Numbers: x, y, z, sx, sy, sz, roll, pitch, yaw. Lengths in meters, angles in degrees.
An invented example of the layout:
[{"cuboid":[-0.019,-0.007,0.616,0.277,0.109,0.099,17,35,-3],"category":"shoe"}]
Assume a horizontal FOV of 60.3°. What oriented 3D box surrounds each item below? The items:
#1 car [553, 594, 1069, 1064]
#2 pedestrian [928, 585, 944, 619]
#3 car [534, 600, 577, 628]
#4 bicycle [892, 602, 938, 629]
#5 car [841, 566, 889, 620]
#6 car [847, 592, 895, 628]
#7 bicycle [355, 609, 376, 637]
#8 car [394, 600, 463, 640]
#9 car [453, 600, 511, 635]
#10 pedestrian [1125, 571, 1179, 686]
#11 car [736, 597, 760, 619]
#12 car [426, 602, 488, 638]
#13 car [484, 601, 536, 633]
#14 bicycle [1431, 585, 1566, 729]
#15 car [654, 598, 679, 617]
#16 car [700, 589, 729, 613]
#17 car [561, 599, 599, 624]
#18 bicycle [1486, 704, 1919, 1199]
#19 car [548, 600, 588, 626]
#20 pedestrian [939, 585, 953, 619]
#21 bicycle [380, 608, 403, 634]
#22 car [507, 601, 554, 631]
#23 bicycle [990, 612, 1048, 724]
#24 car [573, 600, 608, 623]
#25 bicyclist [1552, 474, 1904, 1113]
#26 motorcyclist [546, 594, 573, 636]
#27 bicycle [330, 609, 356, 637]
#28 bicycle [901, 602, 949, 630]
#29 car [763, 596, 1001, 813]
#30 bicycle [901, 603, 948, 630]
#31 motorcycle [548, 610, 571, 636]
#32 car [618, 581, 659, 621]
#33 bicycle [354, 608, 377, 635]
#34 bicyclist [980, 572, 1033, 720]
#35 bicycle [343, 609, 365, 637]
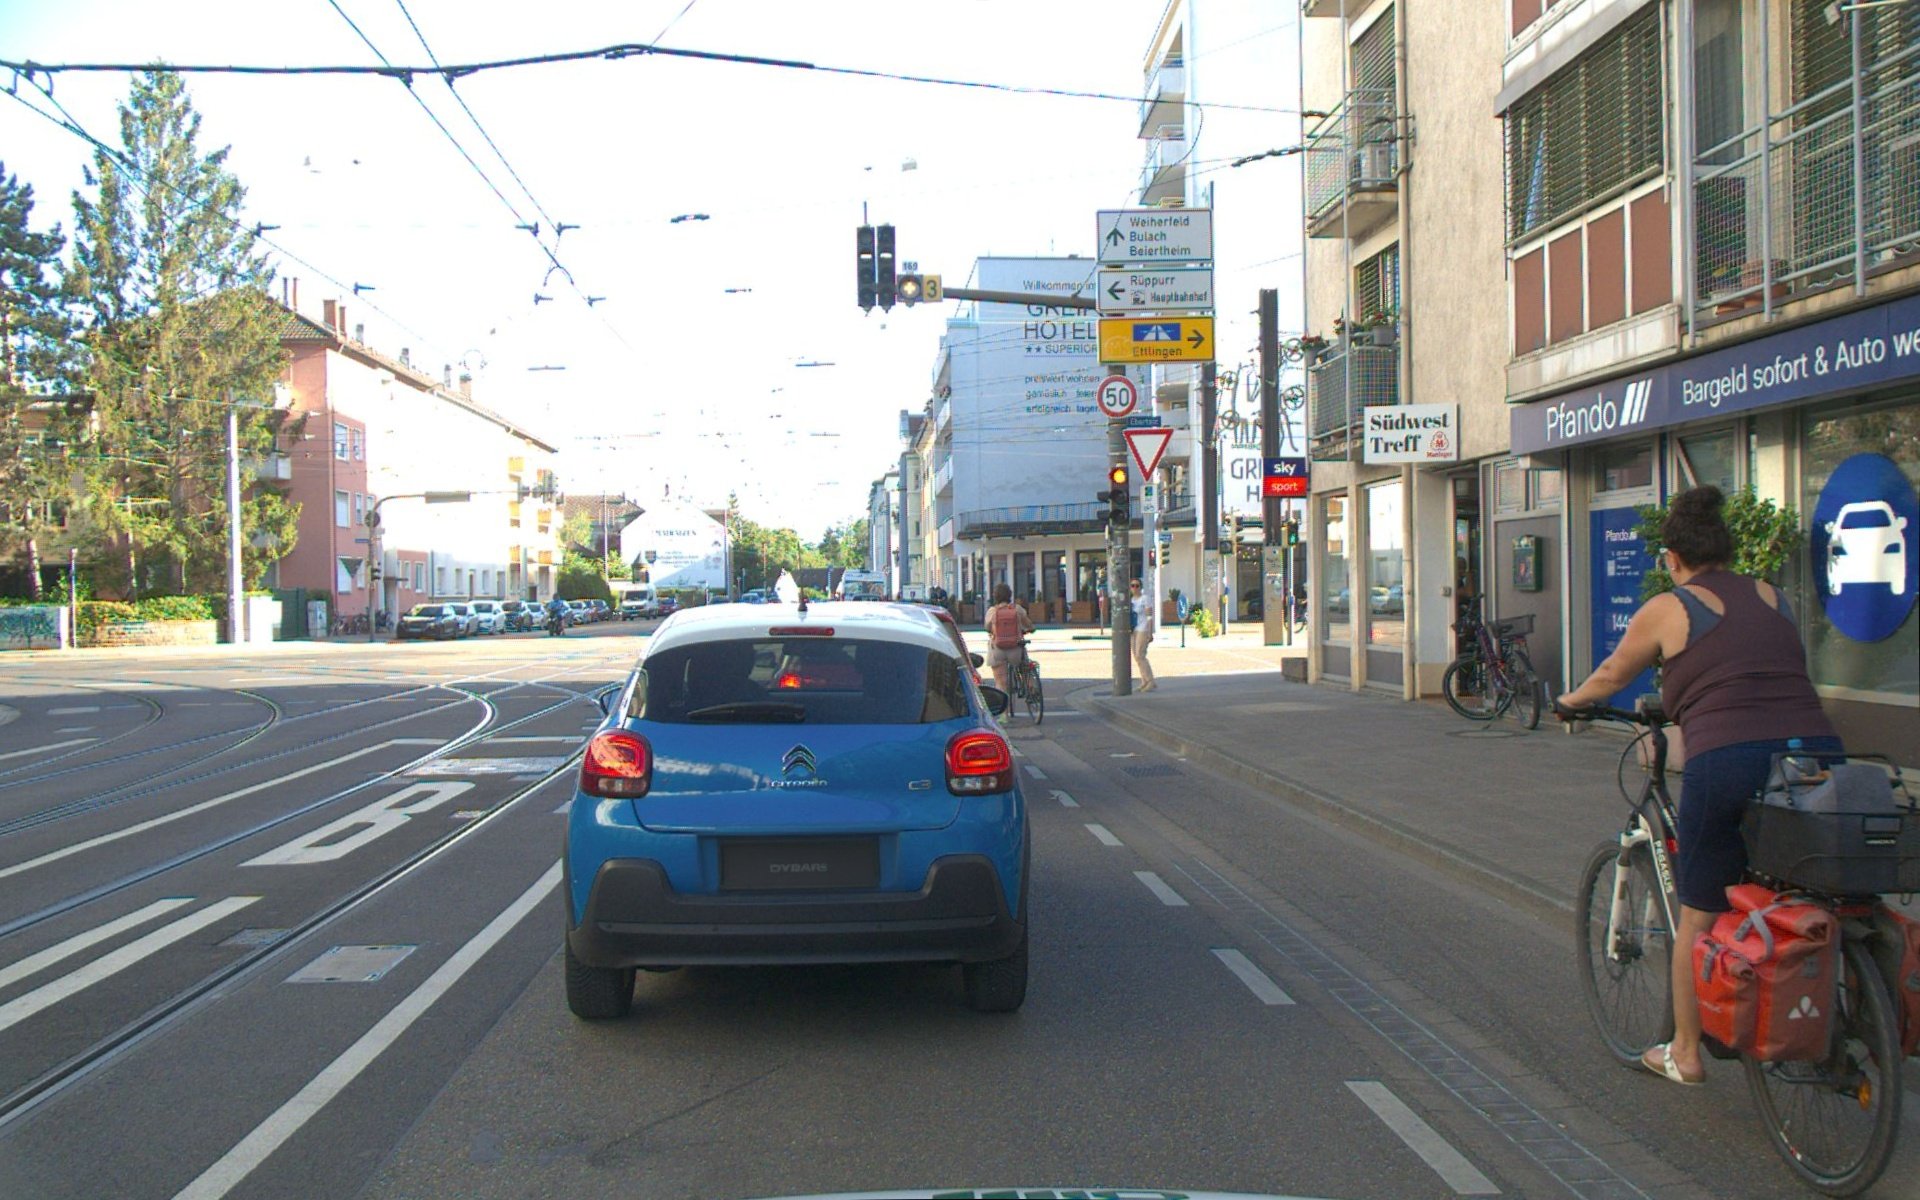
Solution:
[{"cuboid":[-0.614,0.733,7.347,1.647,1.488,3.997,1,0,-4],"category":"car"},{"cuboid":[-1.009,0.091,70.235,0.514,1.445,0.547,-1,0,19],"category":"pedestrian"},{"cuboid":[-23.932,0.824,97.991,1.913,1.545,3.995,-1,0,-6],"category":"car"},{"cuboid":[-1.860,0.643,68.268,1.868,1.083,0.641,-1,0,-8],"category":"bicycle"},{"cuboid":[-4.230,-0.317,73.175,2.039,2.309,5.646,0,0,-4],"category":"car"},{"cuboid":[-3.675,0.385,67.737,1.752,1.383,3.909,-1,0,-6],"category":"car"},{"cuboid":[-24.229,0.937,67.414,0.527,1.101,1.905,-1,0,-11],"category":"bicycle"},{"cuboid":[-22.014,0.792,68.649,1.913,1.545,3.995,-1,0,-6],"category":"car"},{"cuboid":[-22.755,0.821,78.860,1.913,1.545,3.995,-1,0,-6],"category":"car"},{"cuboid":[2.824,0.414,24.405,0.735,1.663,0.740,-1,0,5],"category":"pedestrian"},{"cuboid":[-21.806,0.809,170.491,2.293,2.074,5.044,-1,0,-6],"category":"car"},{"cuboid":[-22.553,0.877,74.254,1.913,1.545,4.040,-1,0,-6],"category":"car"},{"cuboid":[-23.232,0.840,85.517,1.913,1.545,3.995,-1,0,-6],"category":"car"},{"cuboid":[5.111,0.507,15.816,0.627,1.286,1.910,-1,0,-1],"category":"bicycle"},{"cuboid":[-25.571,0.645,144.164,1.913,1.545,3.995,-1,0,-6],"category":"car"},{"cuboid":[-17.982,0.073,121.254,1.967,1.656,5.045,-1,0,-7],"category":"car"},{"cuboid":[-24.848,0.750,108.261,1.913,1.545,3.995,-1,0,-6],"category":"car"},{"cuboid":[2.150,0.931,4.727,0.604,1.123,1.885,-1,0,-2],"category":"bicycle"},{"cuboid":[-24.406,0.809,102.988,1.913,1.545,3.995,-1,0,-6],"category":"car"},{"cuboid":[-0.584,0.086,69.990,0.459,1.445,0.525,-1,0,-13],"category":"pedestrian"},{"cuboid":[-25.671,0.941,74.690,0.597,1.101,1.908,-1,0,-7],"category":"bicycle"},{"cuboid":[-23.762,0.856,91.566,1.913,1.545,3.995,-1,0,-6],"category":"car"},{"cuboid":[0.720,0.816,20.633,0.601,1.286,1.910,-1,0,-1],"category":"bicycle"},{"cuboid":[-25.564,0.789,114.592,1.913,1.545,3.995,-1,0,-6],"category":"car"},{"cuboid":[2.149,0.500,4.710,0.604,1.658,0.759,-1,0,-3],"category":"bicyclist"},{"cuboid":[-16.205,0.608,66.950,0.973,1.659,0.737,-1,0,-10],"category":"motorcyclist"},{"cuboid":[-24.981,0.919,66.989,0.628,1.101,1.905,-1,0,-11],"category":"bicycle"},{"cuboid":[-1.393,0.641,65.777,1.868,1.083,0.641,-1,0,-8],"category":"bicycle"},{"cuboid":[-0.681,0.728,13.556,1.647,1.488,3.997,1,0,-4],"category":"car"},{"cuboid":[-1.445,0.666,67.082,1.868,1.083,0.641,-1,0,-8],"category":"bicycle"},{"cuboid":[-16.225,0.940,67.018,0.738,0.993,2.092,-1,0,-9],"category":"motorcycle"},{"cuboid":[-23.221,0.068,119.575,2.446,2.759,5.828,-1,0,-7],"category":"car"},{"cuboid":[-25.873,0.928,71.985,0.527,1.101,1.908,-1,0,-7],"category":"bicycle"},{"cuboid":[0.566,0.553,20.593,0.588,1.776,1.084,-1,0,-1],"category":"bicyclist"},{"cuboid":[-24.588,0.929,67.115,0.527,1.101,1.905,-1,0,-11],"category":"bicycle"}]
